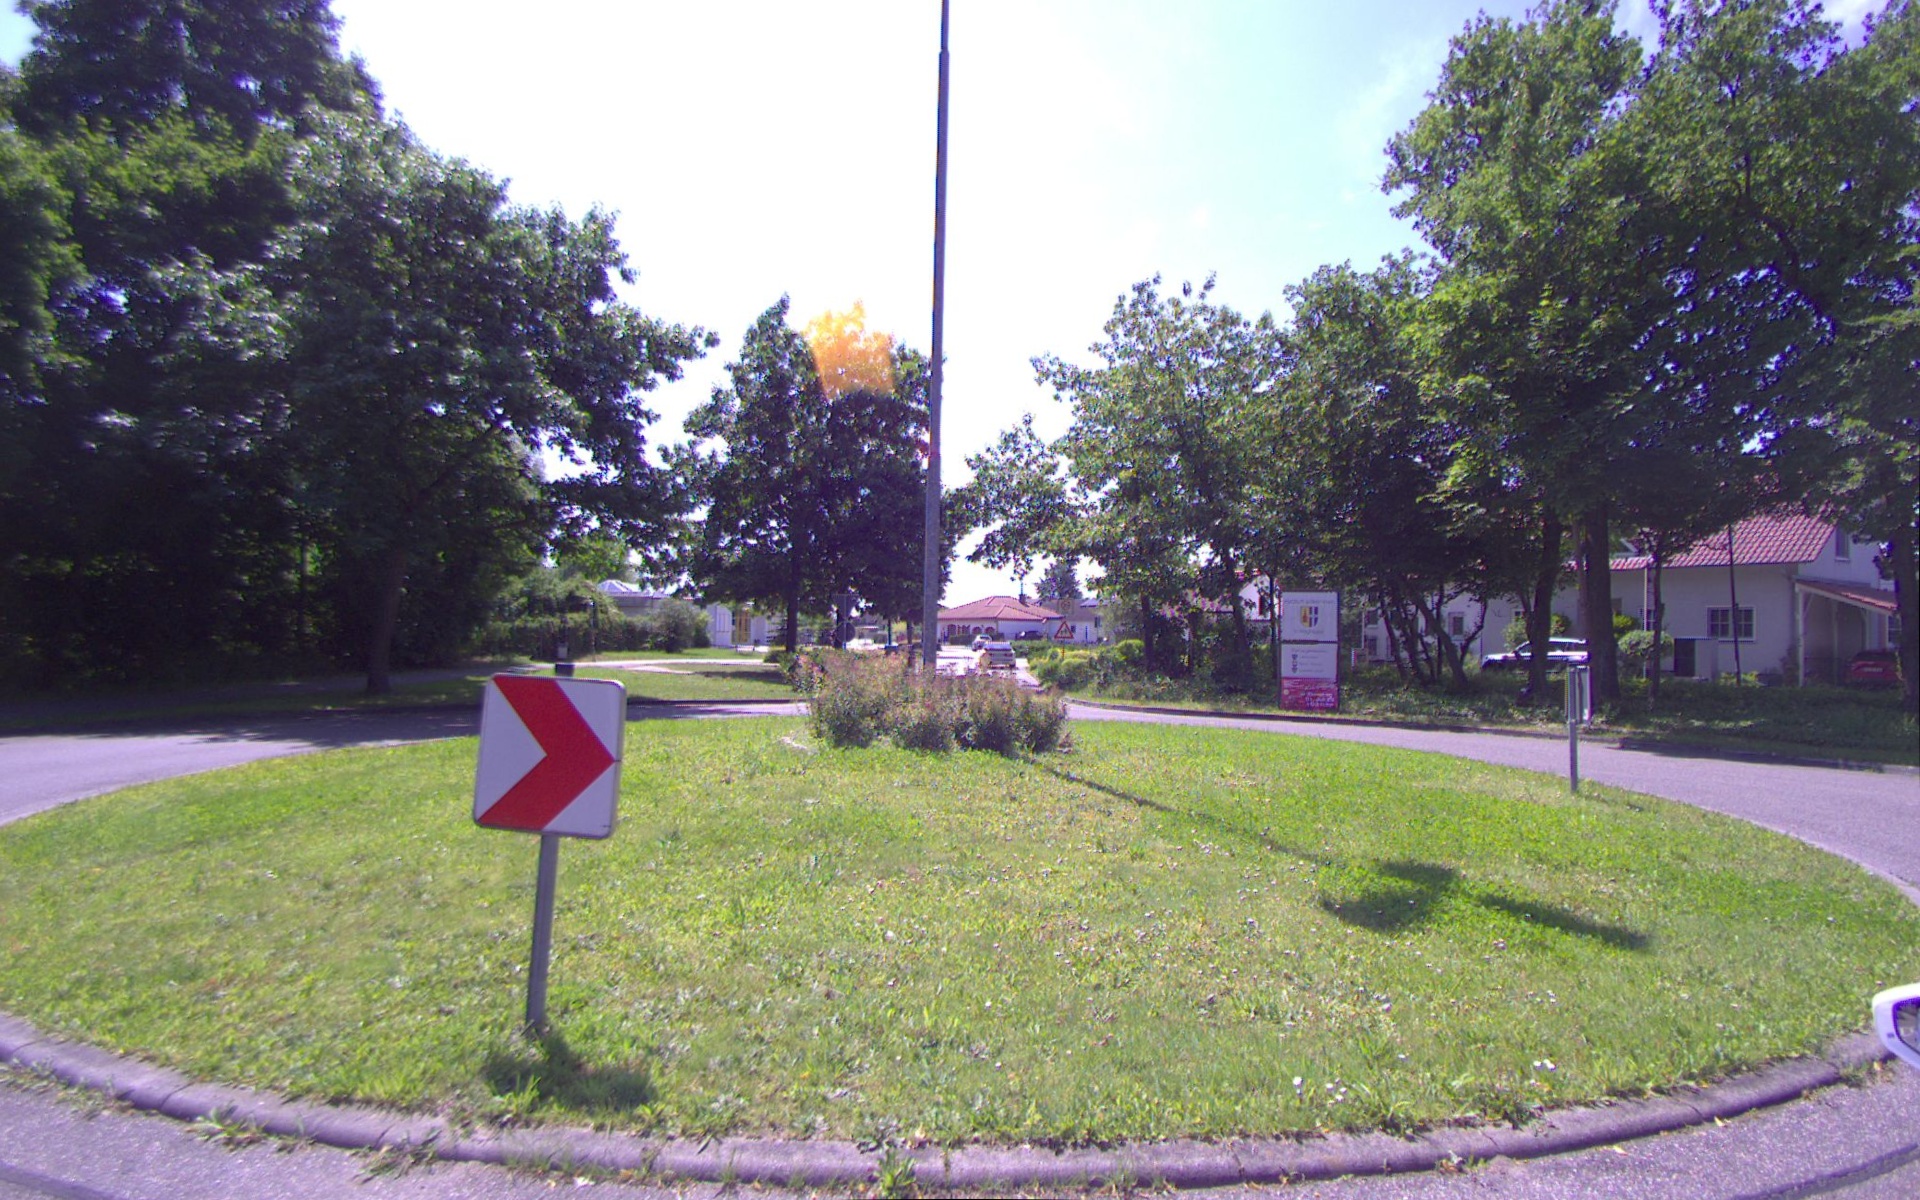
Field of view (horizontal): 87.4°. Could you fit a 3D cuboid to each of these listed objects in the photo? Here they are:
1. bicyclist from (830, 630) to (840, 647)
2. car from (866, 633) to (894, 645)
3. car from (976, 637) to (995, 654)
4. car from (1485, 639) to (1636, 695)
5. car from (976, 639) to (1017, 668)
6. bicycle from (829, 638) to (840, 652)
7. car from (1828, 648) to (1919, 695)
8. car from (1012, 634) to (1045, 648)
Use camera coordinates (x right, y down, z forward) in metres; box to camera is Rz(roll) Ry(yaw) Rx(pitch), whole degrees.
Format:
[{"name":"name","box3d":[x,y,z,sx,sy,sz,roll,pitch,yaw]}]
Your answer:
[{"name":"bicyclist","box3d":[-8.713,2.690,69.891,0.587,1.180,0.648,1,-2,-1]},{"name":"car","box3d":[-9.981,4.862,125.654,1.976,1.305,3.969,3,-2,-29]},{"name":"car","box3d":[2.233,4.026,89.387,1.601,1.505,4.001,1,-2,0]},{"name":"car","box3d":[20.247,2.226,34.008,1.648,1.727,4.106,3,-2,-33]},{"name":"car","box3d":[1.783,2.561,48.418,1.587,1.305,3.560,1,-2,8]},{"name":"bicycle","box3d":[-8.717,3.146,69.758,0.587,0.941,1.620,1,-2,-1]},{"name":"car","box3d":[29.861,2.269,32.444,3.650,1.403,1.671,2,-2,-30]},{"name":"car","box3d":[8.127,4.802,118.632,3.810,1.562,1.831,3,-3,-43]}]
